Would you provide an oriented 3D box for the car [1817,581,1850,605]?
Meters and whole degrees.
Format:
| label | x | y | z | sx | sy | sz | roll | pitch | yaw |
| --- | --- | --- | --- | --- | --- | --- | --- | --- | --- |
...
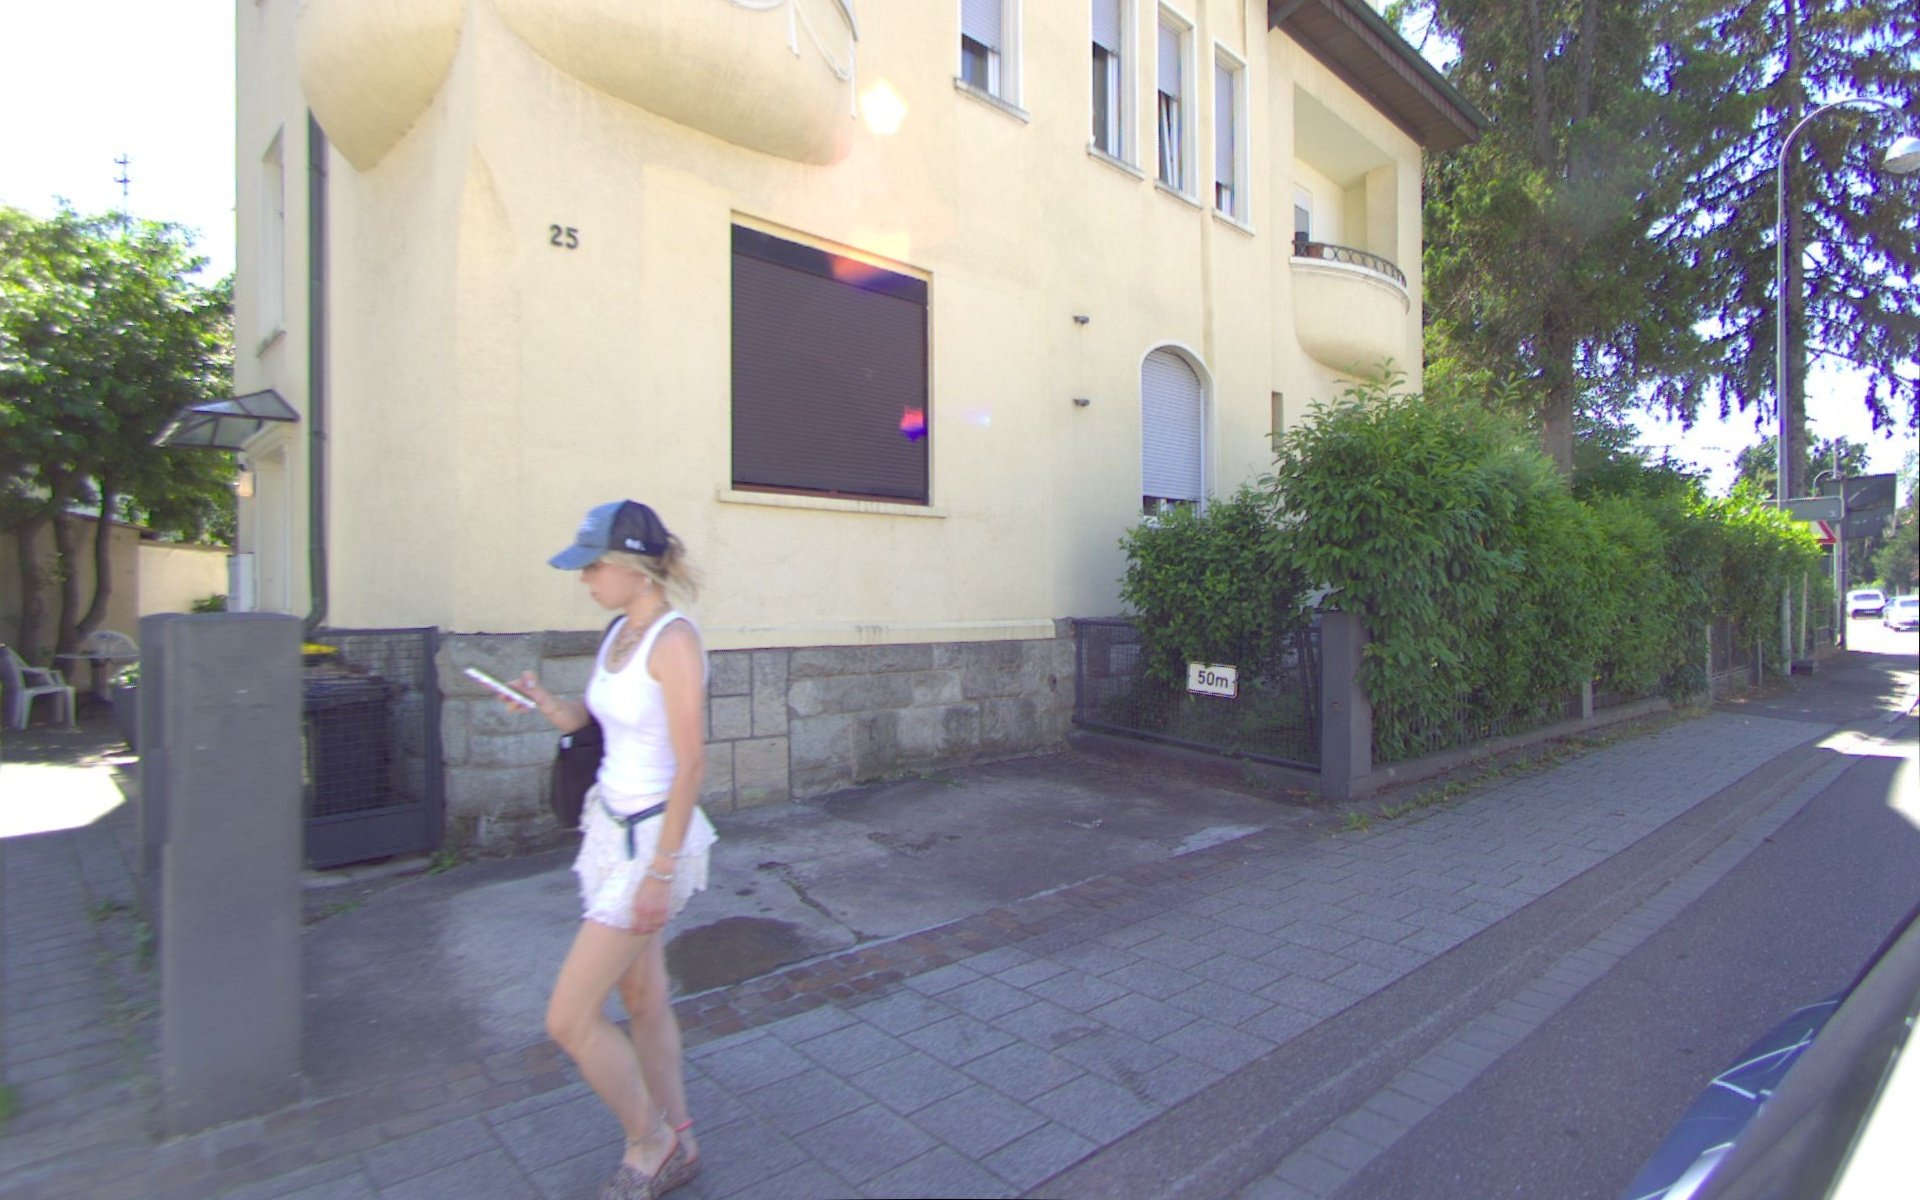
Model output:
| label | x | y | z | sx | sy | sz | roll | pitch | yaw |
| --- | --- | --- | --- | --- | --- | --- | --- | --- | --- |
| car | 70.387 | -0.565 | 81.591 | 1.680 | 1.802 | 3.888 | -3 | -1 | 37 |

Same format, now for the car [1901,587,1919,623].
| label | x | y | z | sx | sy | sz | roll | pitch | yaw |
| --- | --- | --- | --- | --- | --- | --- | --- | --- | --- |
| car | 40.774 | 0.166 | 42.454 | 1.682 | 1.473 | 3.685 | -3 | -1 | 40 |

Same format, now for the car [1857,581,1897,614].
| label | x | y | z | sx | sy | sz | roll | pitch | yaw |
| --- | --- | --- | --- | --- | --- | --- | --- | --- | --- |
| car | 56.031 | -0.159 | 61.821 | 1.683 | 1.801 | 3.881 | -3 | 1 | 43 |

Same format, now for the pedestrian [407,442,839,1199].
| label | x | y | z | sx | sy | sz | roll | pitch | yaw |
| --- | --- | --- | --- | --- | --- | --- | --- | --- | --- |
| pedestrian | -0.785 | 0.531 | 2.387 | 0.759 | 1.664 | 0.623 | -1 | 0 | -45 |
